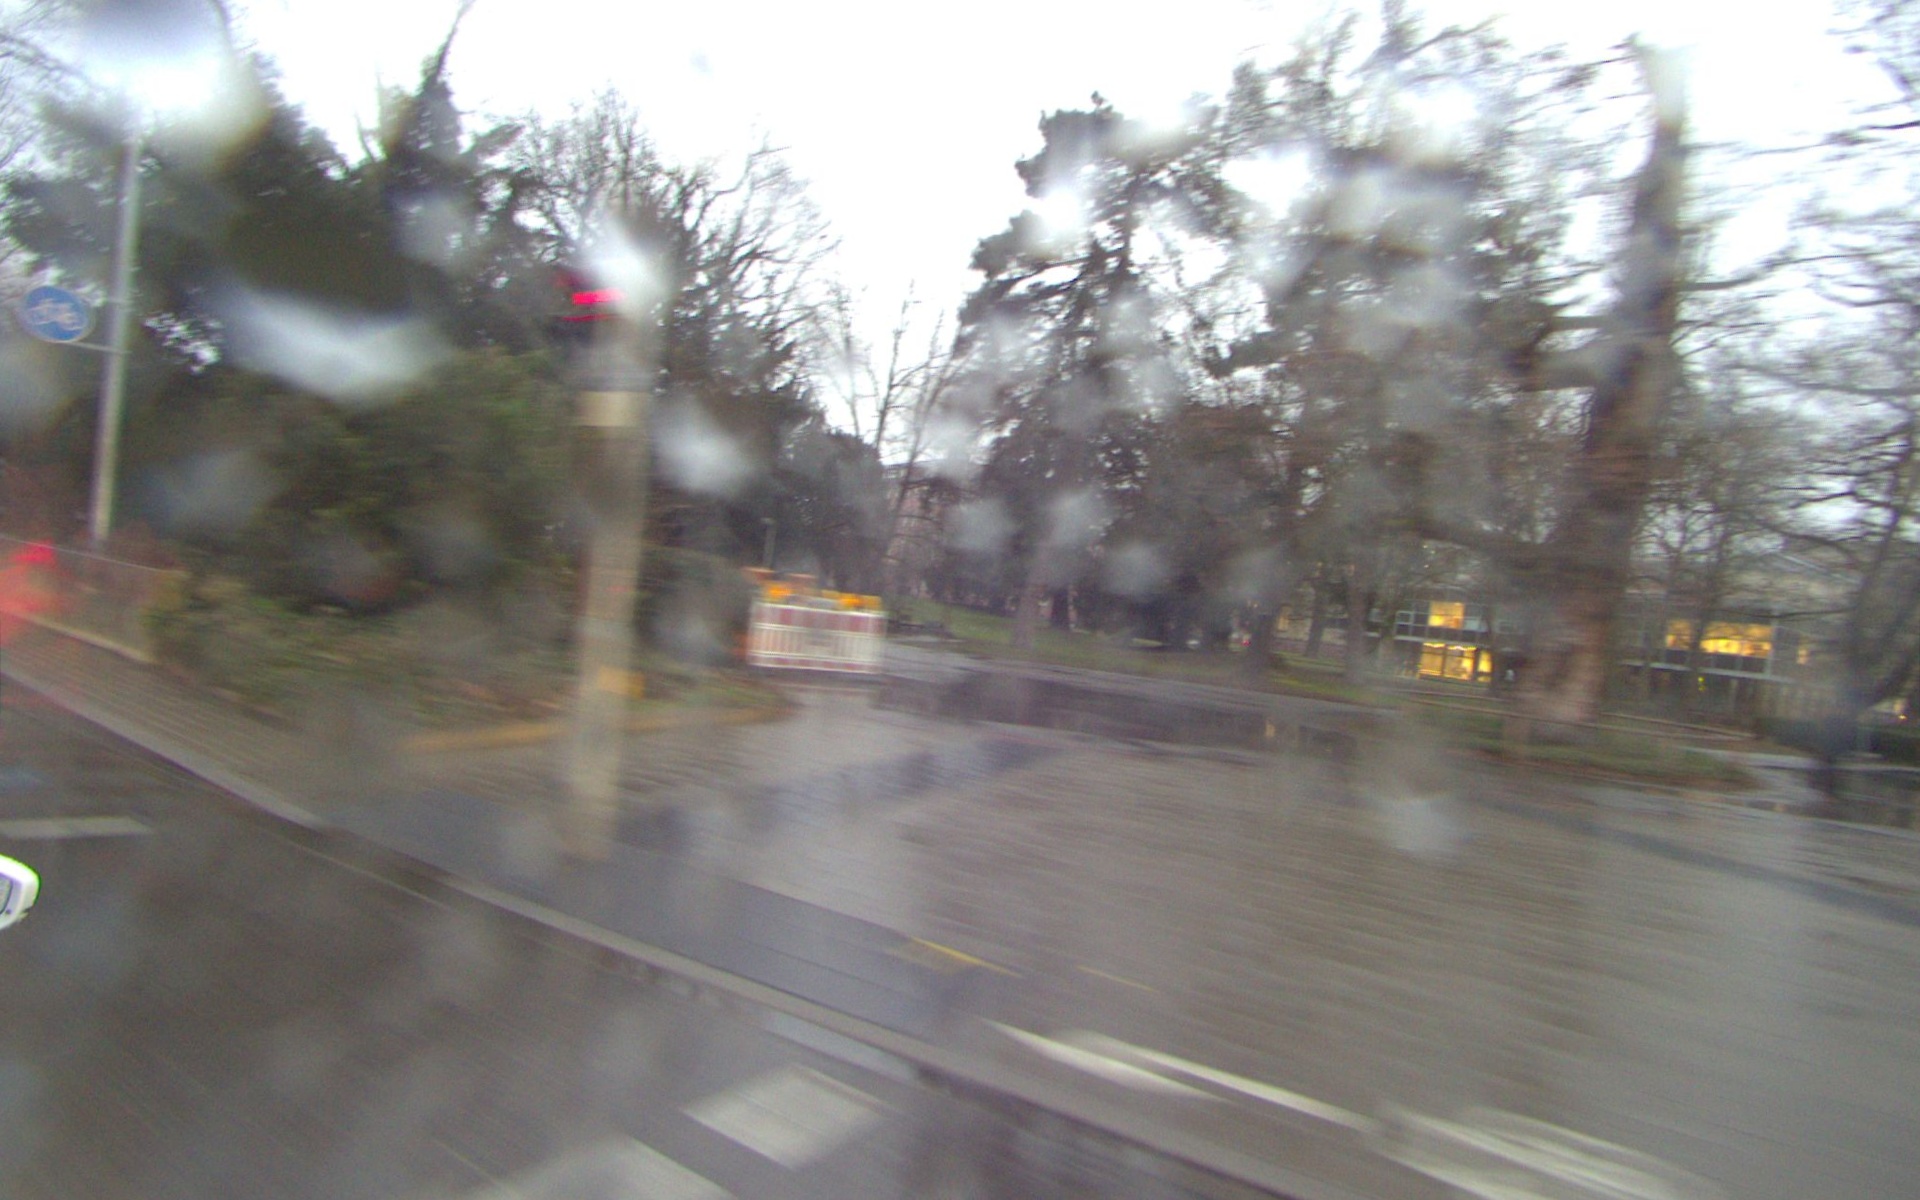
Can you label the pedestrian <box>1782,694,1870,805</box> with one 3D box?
[{"bbox_3d":[14.283,2.455,16.602,0.720,1.660,0.843,7,0,-38],"label":"pedestrian"}]
